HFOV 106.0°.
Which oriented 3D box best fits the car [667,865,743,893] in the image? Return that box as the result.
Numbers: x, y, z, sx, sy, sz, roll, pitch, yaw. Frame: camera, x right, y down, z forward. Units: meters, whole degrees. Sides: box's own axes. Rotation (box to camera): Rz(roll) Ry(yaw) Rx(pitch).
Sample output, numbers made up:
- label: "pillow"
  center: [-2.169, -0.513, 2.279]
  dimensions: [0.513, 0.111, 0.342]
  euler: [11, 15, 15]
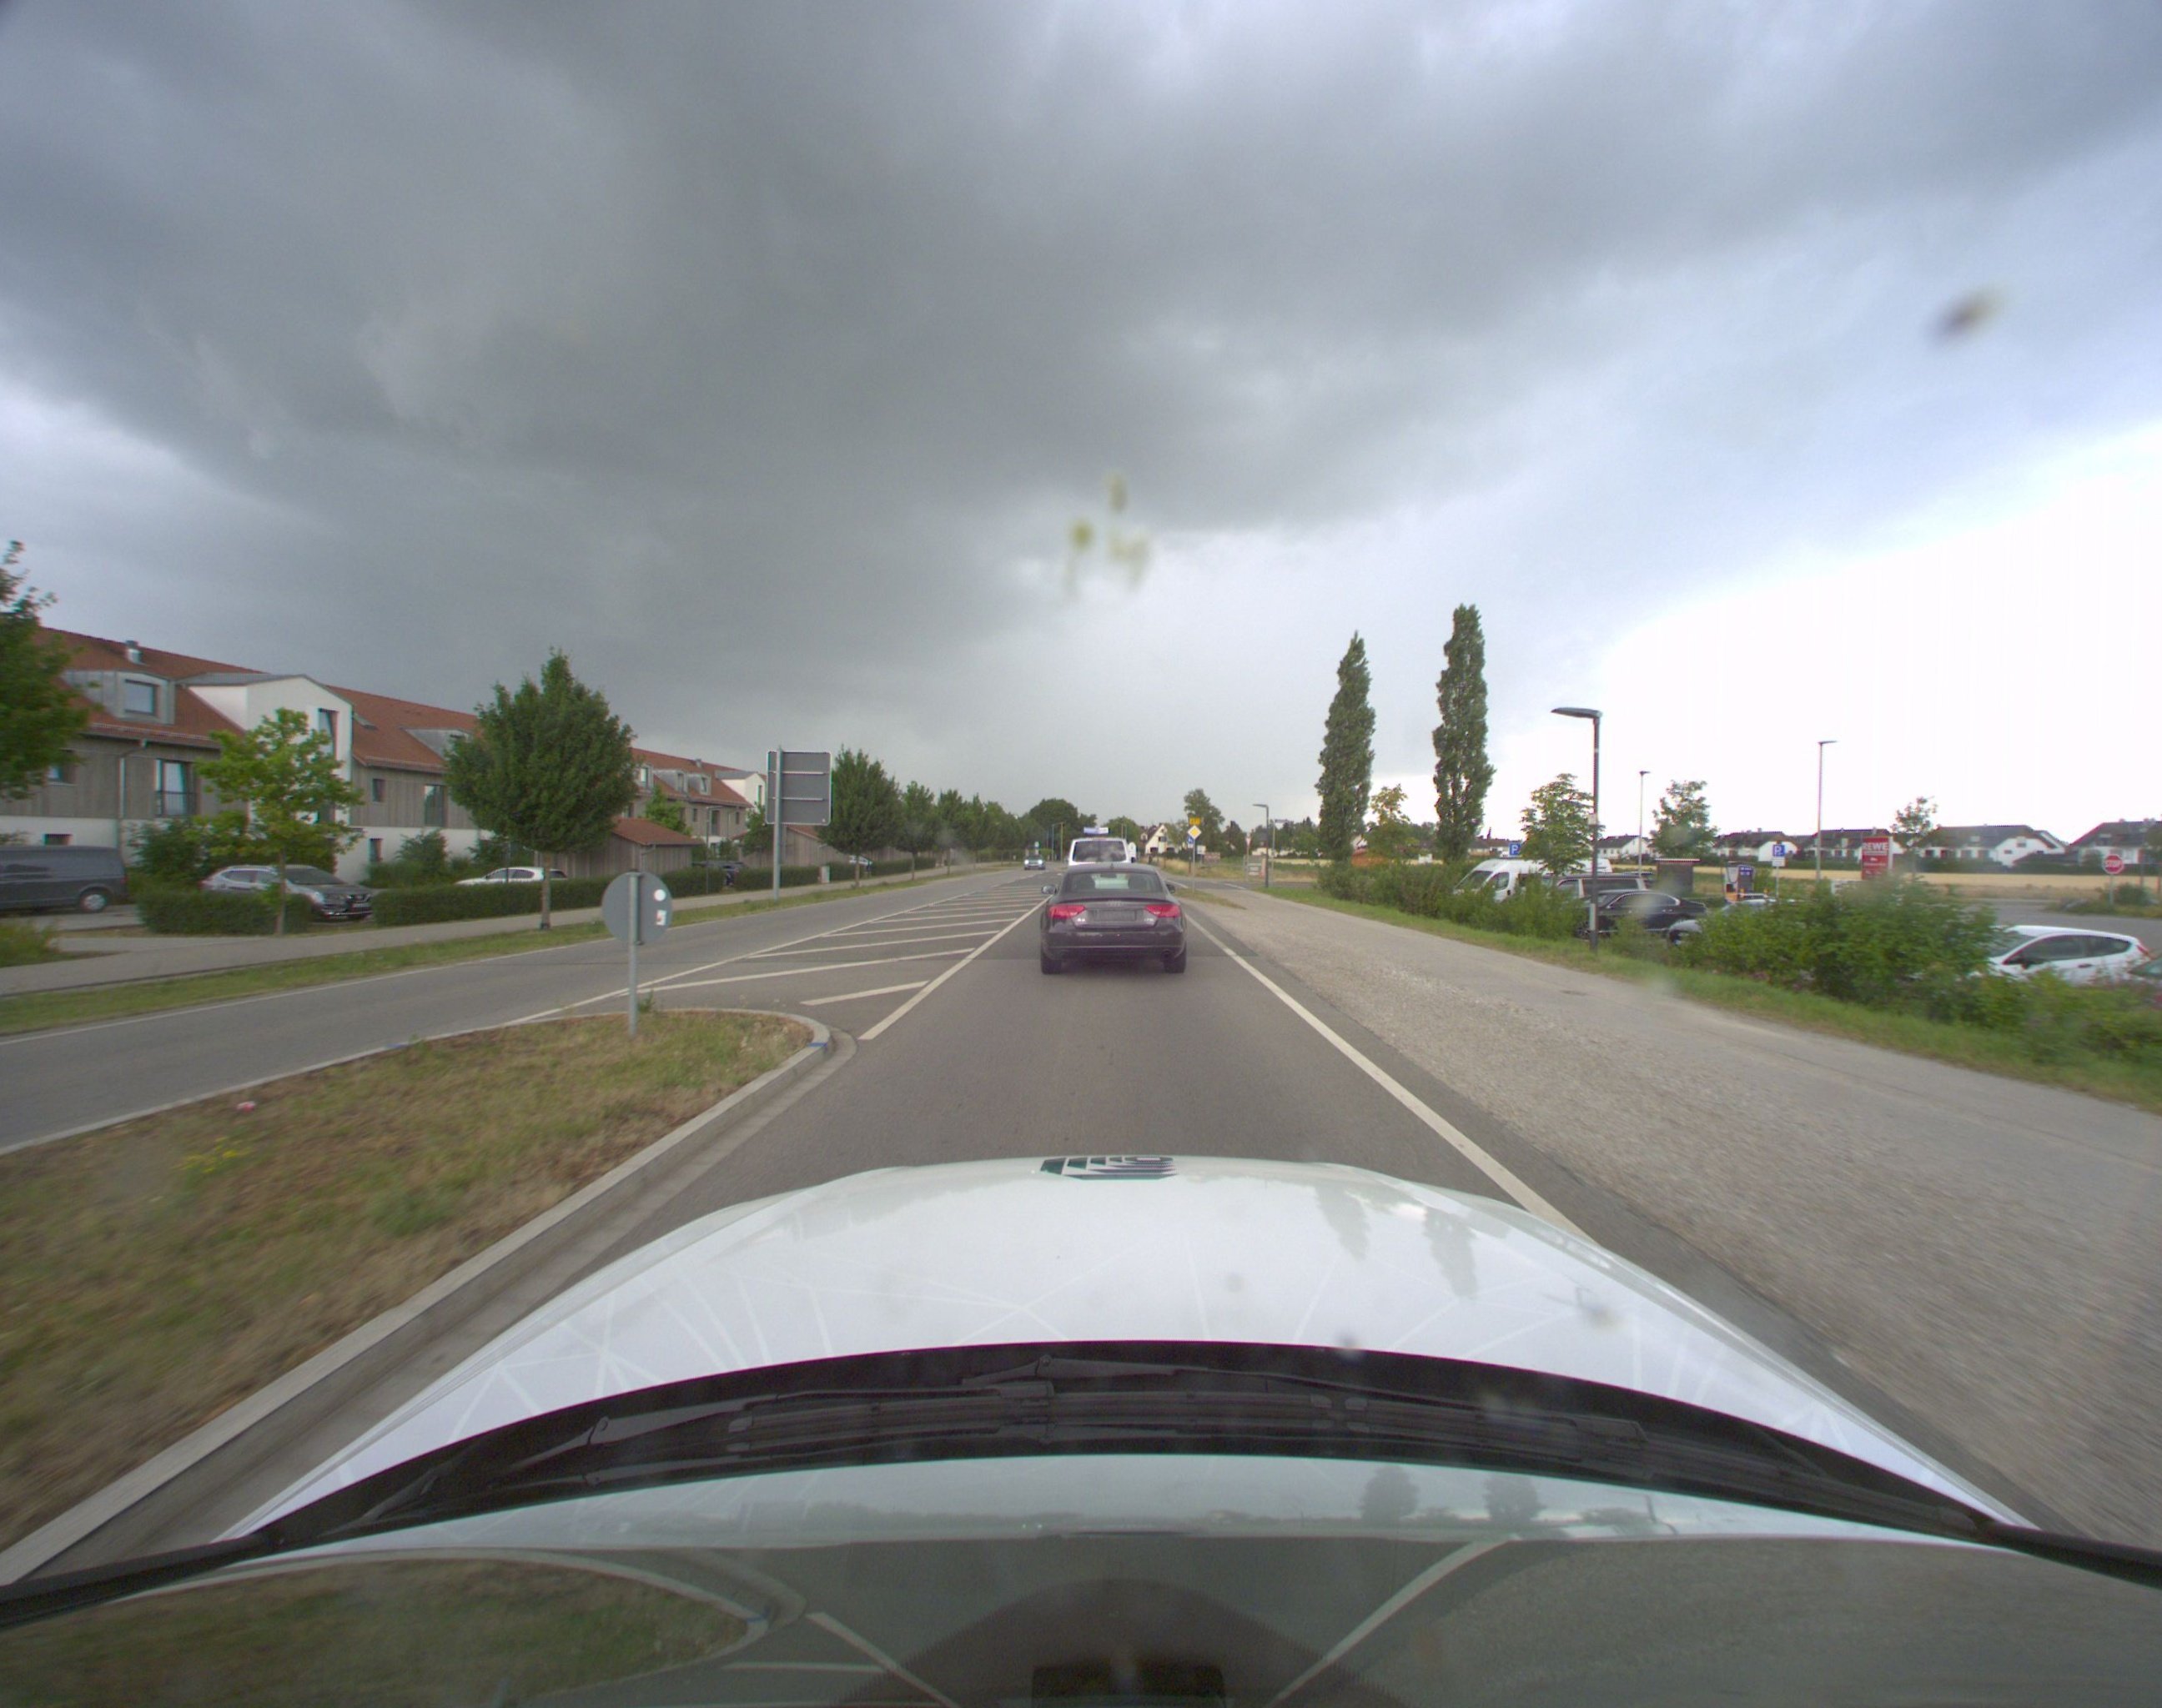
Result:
- label: "car"
  center: [-21.098, 1.384, 45.790]
  dimensions: [3.501, 1.489, 1.564]
  euler: [-1, 0, 1]

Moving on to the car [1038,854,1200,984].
- label: "car"
  center: [0.341, 0.738, 11.454]
  dimensions: [1.821, 1.388, 4.383]
  euler: [-1, 0, -3]

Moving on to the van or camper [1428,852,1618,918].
- label: "van or camper"
  center: [17.755, 1.210, 32.939]
  dimensions: [6.447, 2.464, 2.281]
  euler: [-1, 0, -1]

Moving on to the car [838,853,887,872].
- label: "car"
  center: [-20.551, 0.782, 76.673]
  dimensions: [3.970, 1.556, 2.002]
  euler: [2, 0, 3]

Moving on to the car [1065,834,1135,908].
- label: "car"
  center: [0.517, 0.436, 23.614]
  dimensions: [1.819, 1.913, 4.000]
  euler: [2, 0, 0]

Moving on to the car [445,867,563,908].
- label: "car"
  center: [-22.615, 1.305, 32.004]
  dimensions: [3.501, 1.489, 1.564]
  euler: [-1, 0, 1]

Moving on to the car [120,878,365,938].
- label: "car"
  center: [-23.062, 1.464, 22.526]
  dimensions: [4.885, 1.430, 1.907]
  euler: [-1, 0, 2]

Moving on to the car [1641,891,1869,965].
- label: "car"
  center: [17.027, 1.832, 20.745]
  dimensions: [4.133, 1.598, 2.080]
  euler: [-1, 0, 0]

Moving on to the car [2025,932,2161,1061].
- label: "car"
  center: [16.344, 1.971, 11.667]
  dimensions: [3.744, 1.538, 1.676]
  euler: [-1, 0, -1]

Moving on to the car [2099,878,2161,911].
- label: "car"
  center: [54.022, 2.021, 40.737]
  dimensions: [1.738, 1.508, 3.581]
  euler: [-1, 0, 2]

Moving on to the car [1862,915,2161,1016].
- label: "car"
  center: [17.194, 1.996, 14.951]
  dimensions: [4.133, 1.538, 1.676]
  euler: [-1, 0, -1]

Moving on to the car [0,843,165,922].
- label: "car"
  center: [-30.134, 0.762, 23.145]
  dimensions: [1.984, 2.013, 5.207]
  euler: [3, 1, 5]

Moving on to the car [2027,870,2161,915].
- label: "car"
  center: [50.918, 1.867, 40.994]
  dimensions: [1.986, 2.013, 4.002]
  euler: [-1, 0, 2]

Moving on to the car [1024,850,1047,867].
- label: "car"
  center: [-4.266, 0.412, 76.507]
  dimensions: [1.763, 1.443, 4.002]
  euler: [-1, 0, 2]

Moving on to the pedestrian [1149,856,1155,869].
- label: "pedestrian"
  center: [8.597, 1.027, 98.946]
  dimensions: [0.621, 1.525, 0.680]
  euler: [-1, 0, 1]

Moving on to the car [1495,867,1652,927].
- label: "car"
  center: [17.977, 1.550, 29.892]
  dimensions: [4.578, 2.013, 2.000]
  euler: [-1, 0, -1]

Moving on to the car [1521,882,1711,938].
- label: "car"
  center: [17.363, 1.789, 26.593]
  dimensions: [5.079, 1.598, 1.758]
  euler: [-1, 0, -1]
